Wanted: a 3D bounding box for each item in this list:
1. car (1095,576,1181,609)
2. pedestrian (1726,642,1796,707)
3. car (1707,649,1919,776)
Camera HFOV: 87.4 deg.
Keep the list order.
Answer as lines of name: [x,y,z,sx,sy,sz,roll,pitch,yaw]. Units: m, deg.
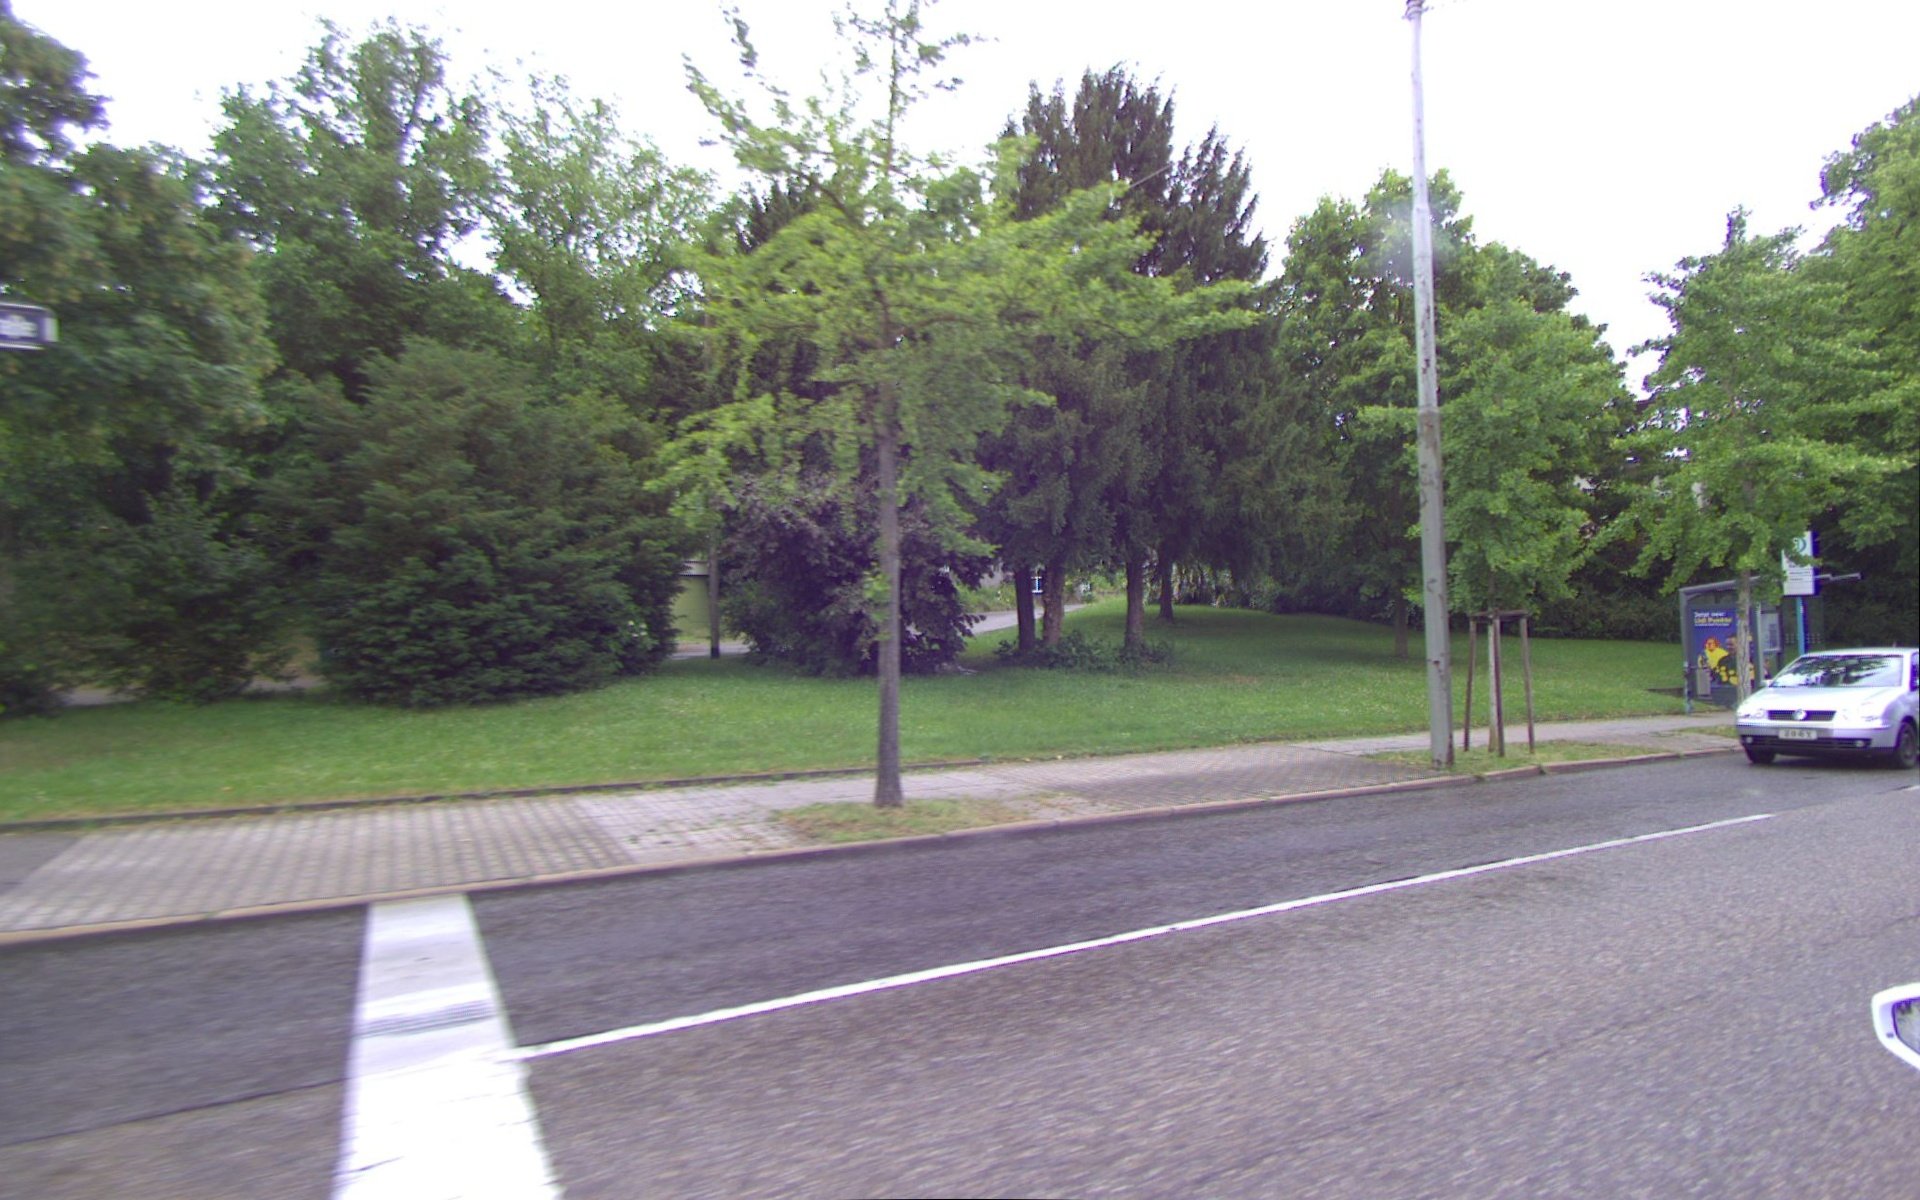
car: [8.962,-0.347,50.737,3.848,1.505,1.927,-1,-2,38]
pedestrian: [18.725,1.730,23.489,0.905,1.422,0.935,0,1,-23]
car: [11.813,1.375,13.231,3.953,1.417,1.714,1,-3,-30]
